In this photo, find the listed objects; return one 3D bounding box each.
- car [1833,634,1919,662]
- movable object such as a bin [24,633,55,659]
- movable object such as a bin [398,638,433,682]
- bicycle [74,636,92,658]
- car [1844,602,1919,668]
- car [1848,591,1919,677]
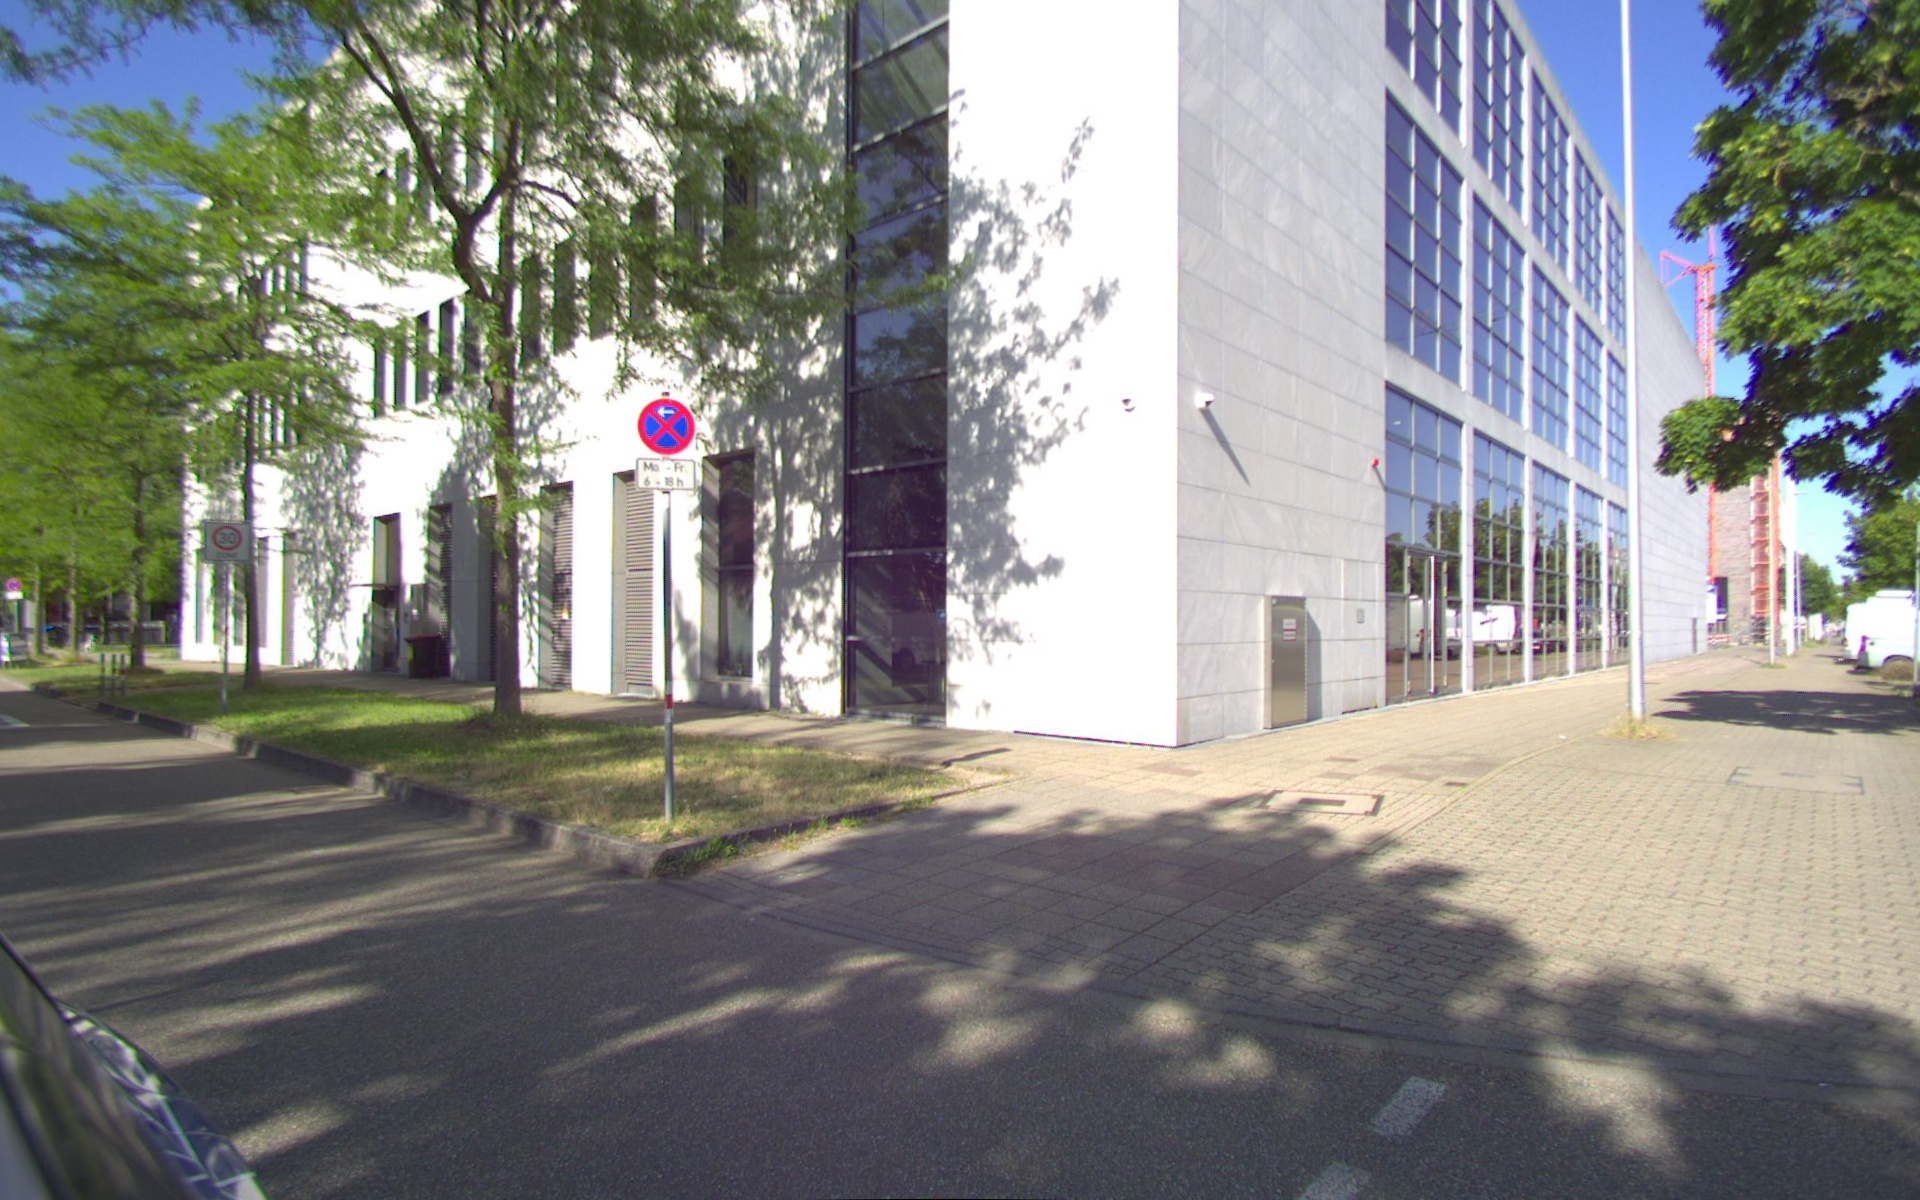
[{"bbox_3d":[67.997,3.541,75.180,4.640,1.781,1.959,1,0,44],"label":"car"},{"bbox_3d":[-59.849,2.977,65.793,1.501,1.580,1.348,0,-1,-43],"label":"movable object such as a bin"},{"bbox_3d":[-13.248,1.453,24.606,0.543,1.048,0.587,-2,-1,40],"label":"movable object such as a bin"},{"bbox_3d":[-49.514,2.647,57.152,1.727,1.201,0.594,-2,-1,43],"label":"bicycle"},{"bbox_3d":[36.774,1.323,37.815,5.571,2.428,1.959,1,0,44],"label":"car"},{"bbox_3d":[28.984,1.017,28.992,5.266,2.436,2.093,2,0,43],"label":"car"}]
